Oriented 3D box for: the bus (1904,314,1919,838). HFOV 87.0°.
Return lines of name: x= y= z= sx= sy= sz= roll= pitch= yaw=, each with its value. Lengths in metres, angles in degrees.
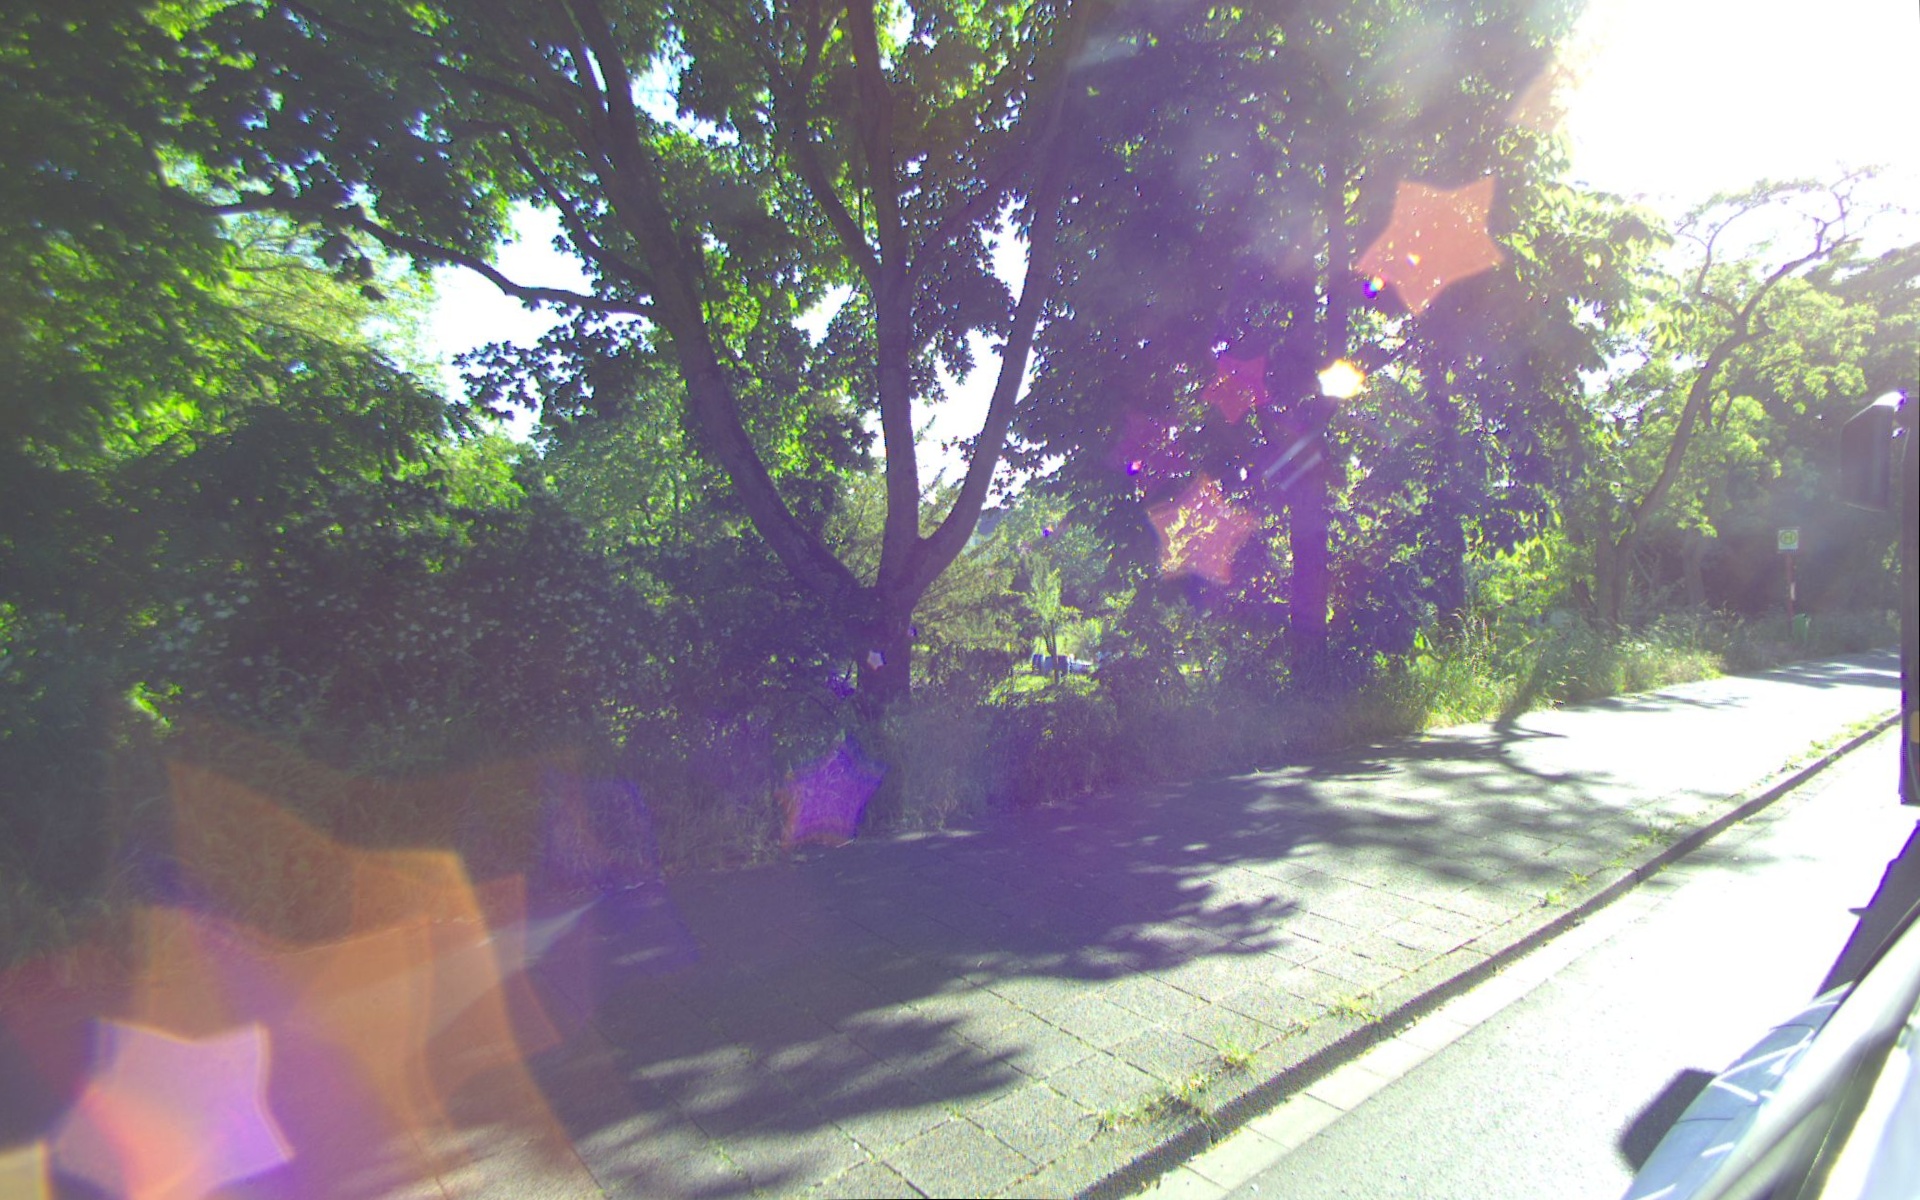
bus: x=11.088 y=-0.126 z=9.107 sx=12.674 sy=3.021 sz=2.786 roll=0 pitch=0 yaw=-42
